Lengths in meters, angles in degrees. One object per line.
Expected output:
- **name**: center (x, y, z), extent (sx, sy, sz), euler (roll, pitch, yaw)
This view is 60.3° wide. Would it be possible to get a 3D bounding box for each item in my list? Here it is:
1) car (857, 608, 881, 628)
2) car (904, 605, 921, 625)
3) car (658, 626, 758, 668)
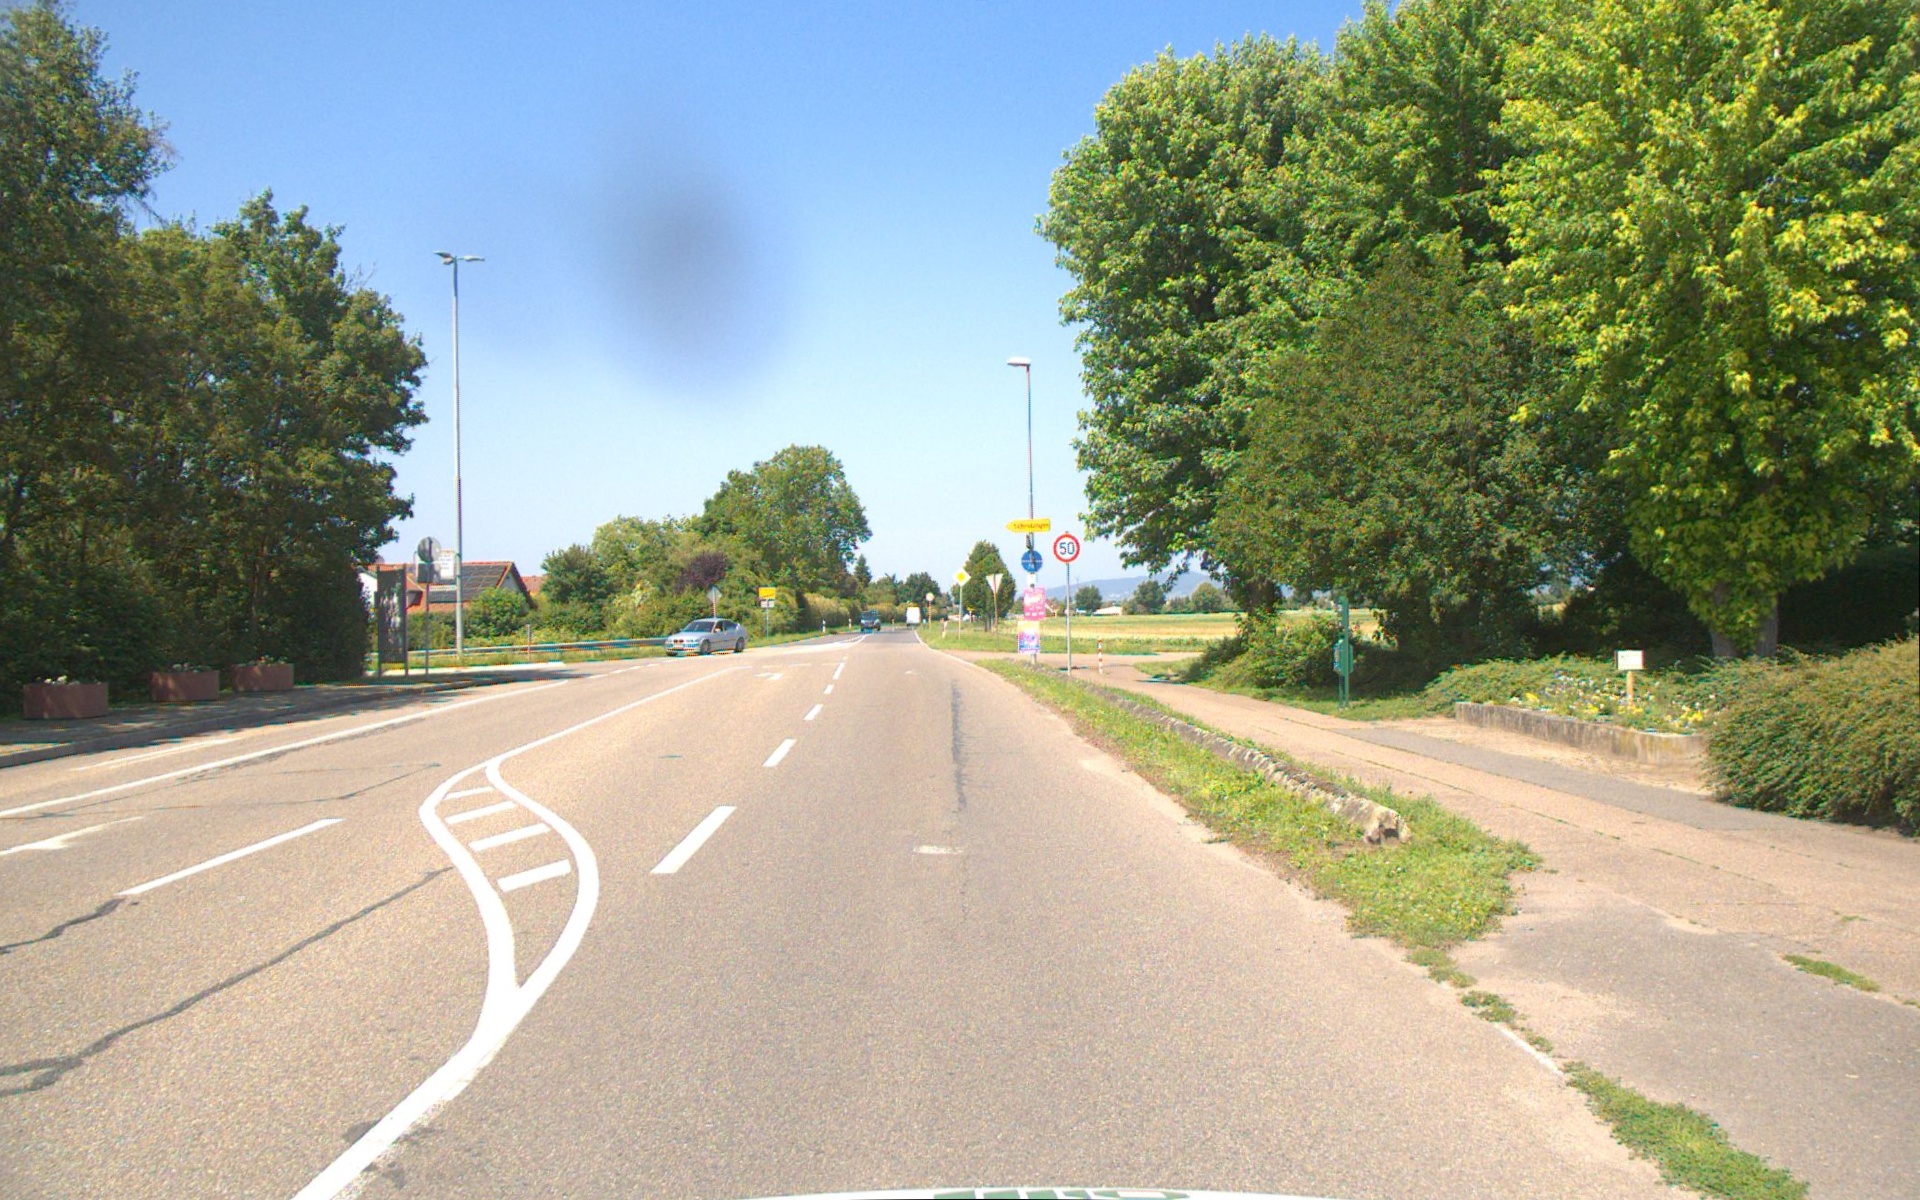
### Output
- **car**: center (-9.321, 1.855, 169.747), extent (2.101, 1.985, 5.246), euler (-2, 0, -1)
- **car**: center (-6.663, 2.039, 232.487), extent (1.952, 2.697, 4.002), euler (-2, 0, 4)
- **car**: center (-10.075, 1.856, 66.509), extent (1.605, 1.496, 4.408), euler (-2, 0, 29)
